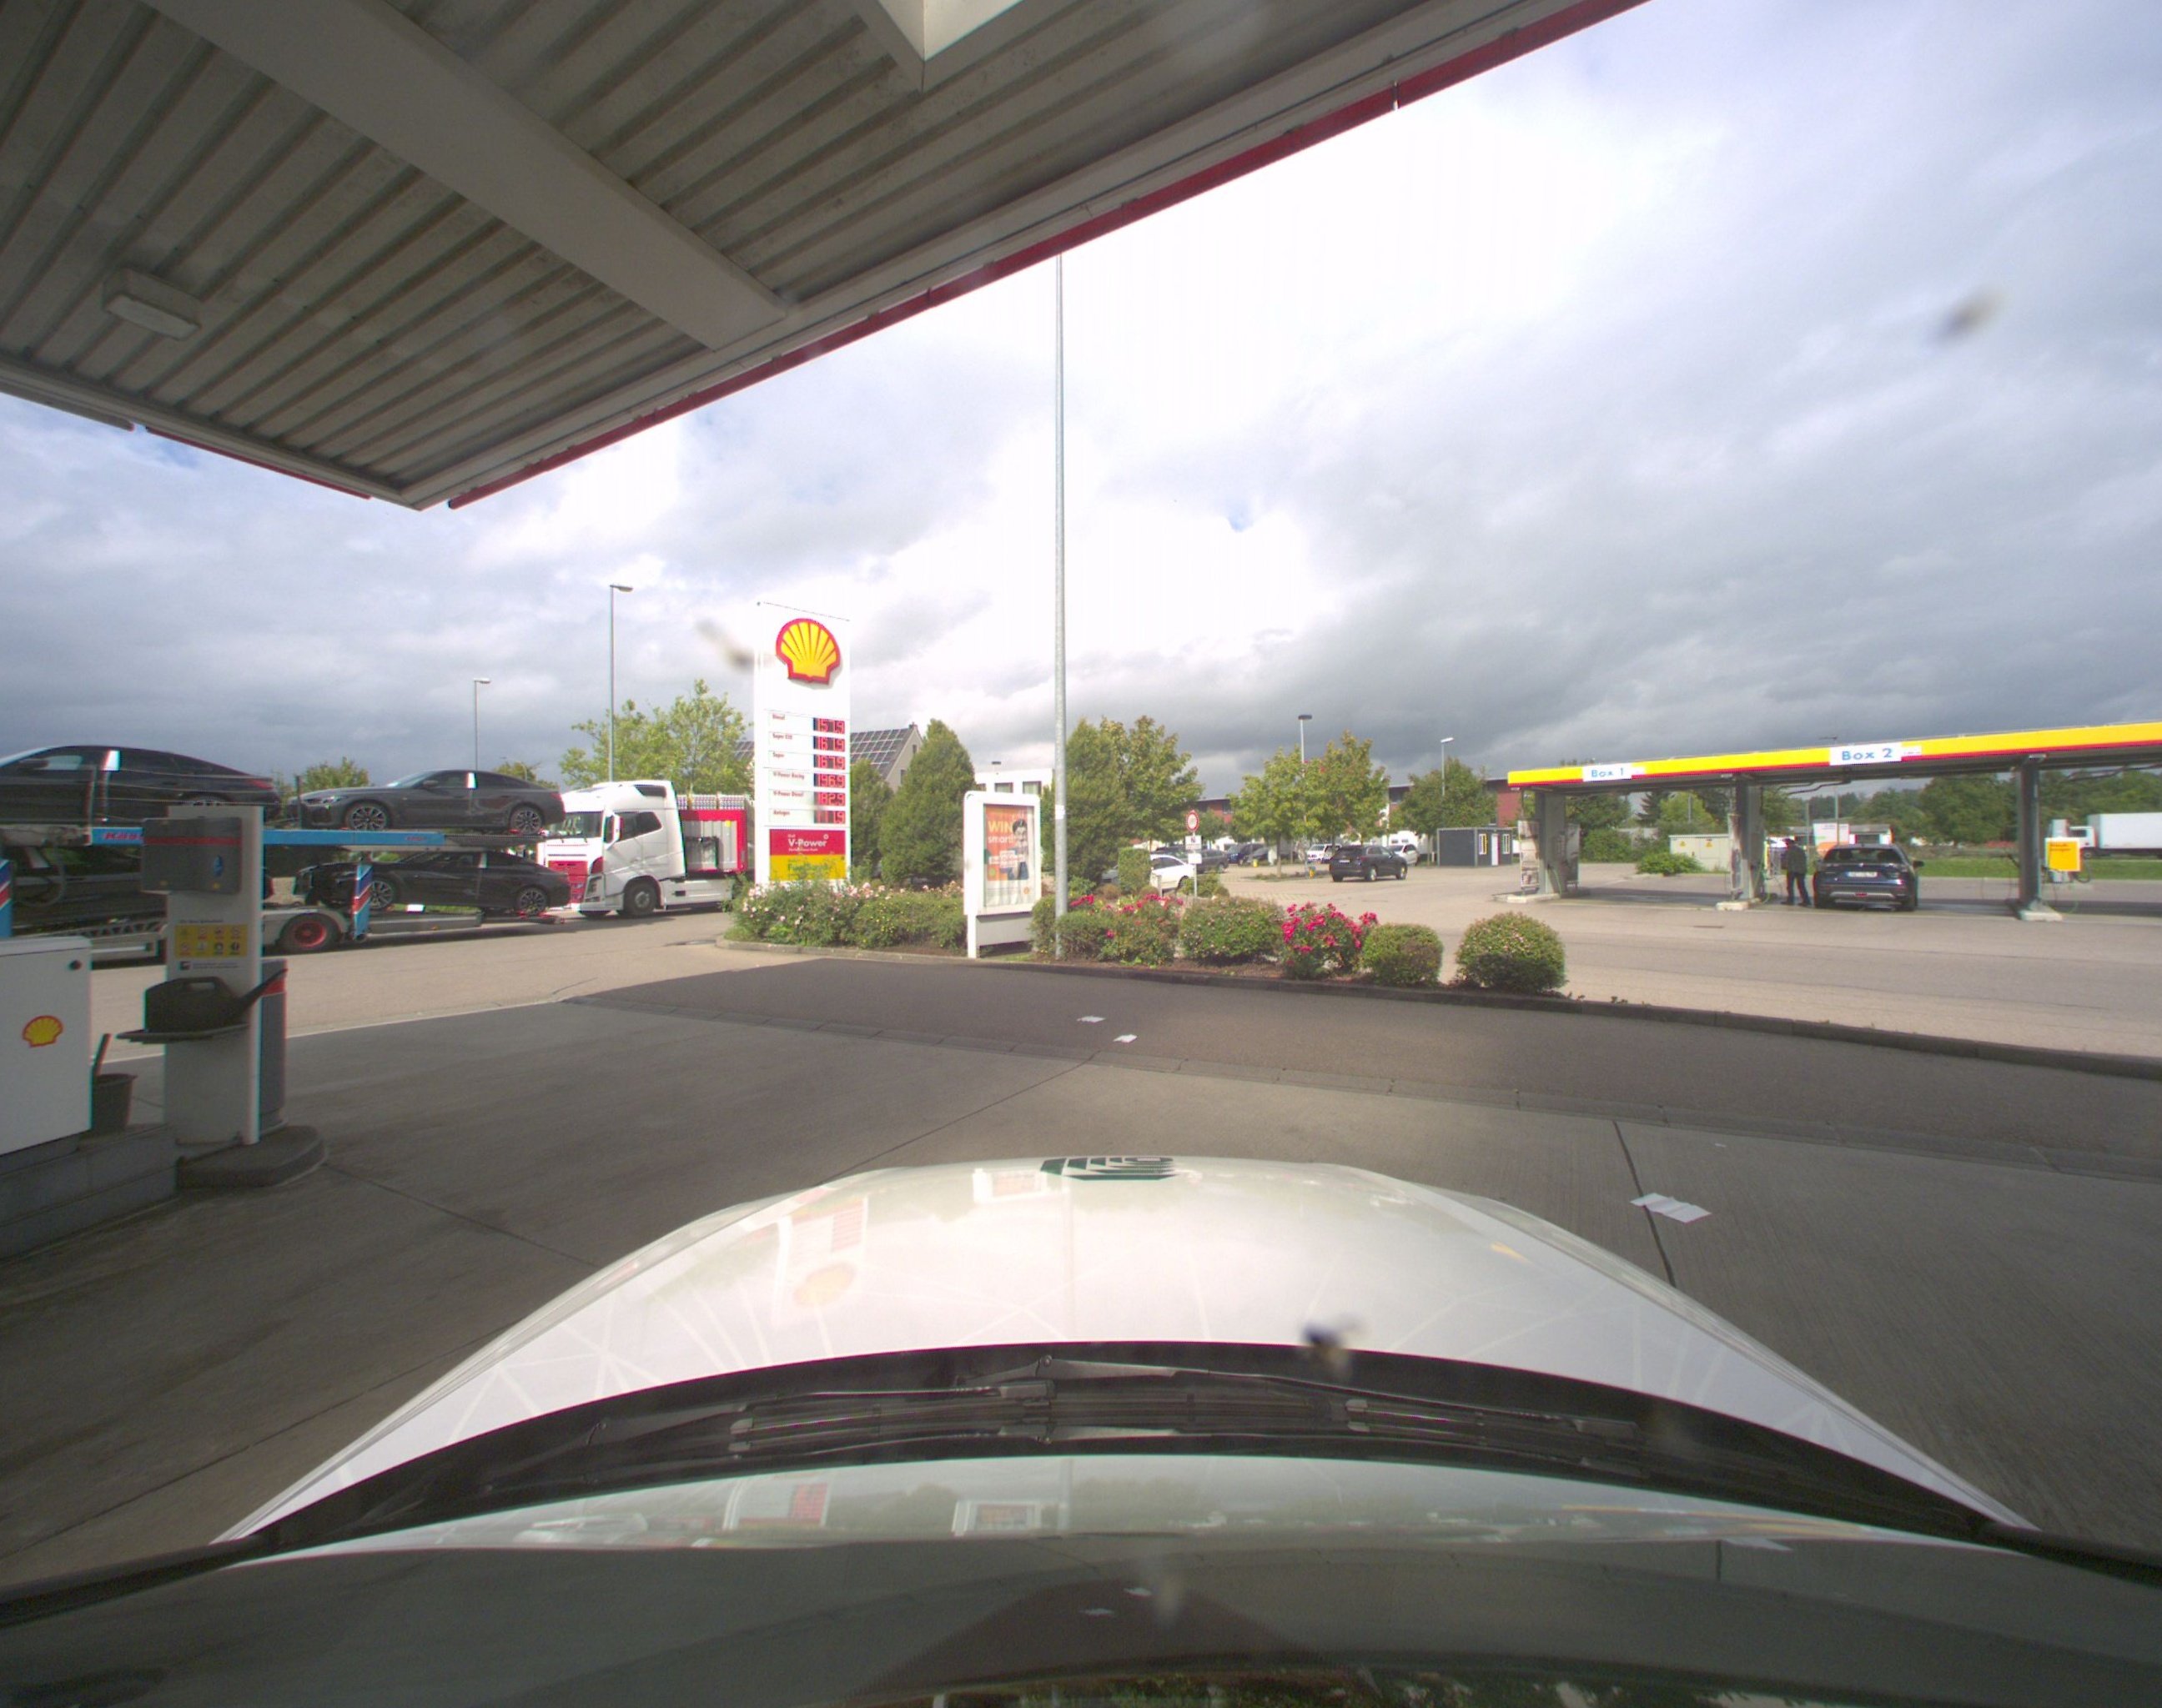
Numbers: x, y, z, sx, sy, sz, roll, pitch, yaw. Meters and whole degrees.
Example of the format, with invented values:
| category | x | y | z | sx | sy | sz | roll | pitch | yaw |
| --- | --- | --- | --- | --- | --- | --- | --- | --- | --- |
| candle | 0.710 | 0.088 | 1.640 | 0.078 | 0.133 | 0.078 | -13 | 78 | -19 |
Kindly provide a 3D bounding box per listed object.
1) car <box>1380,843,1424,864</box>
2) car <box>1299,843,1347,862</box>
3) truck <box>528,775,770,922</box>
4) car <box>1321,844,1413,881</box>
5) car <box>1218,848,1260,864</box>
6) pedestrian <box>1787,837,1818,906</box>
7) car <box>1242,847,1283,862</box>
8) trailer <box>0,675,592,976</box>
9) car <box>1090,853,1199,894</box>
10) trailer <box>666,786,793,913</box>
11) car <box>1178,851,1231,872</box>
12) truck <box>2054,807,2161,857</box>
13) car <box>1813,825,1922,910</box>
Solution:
| category | x | y | z | sx | sy | sz | roll | pitch | yaw |
| --- | --- | --- | --- | --- | --- | --- | --- | --- | --- |
| car | 20.612 | -0.050 | 52.220 | 3.120 | 1.307 | 1.352 | 0 | -1 | -42 |
| car | 23.877 | -0.125 | 80.273 | 4.903 | 1.833 | 2.159 | 0 | -1 | -41 |
| truck | -12.695 | -0.128 | 24.500 | 2.707 | 3.846 | 5.953 | -1 | -1 | 26 |
| car | 12.881 | 0.373 | 36.584 | 4.527 | 1.548 | 1.864 | 0 | -1 | -41 |
| car | 12.954 | 0.180 | 66.664 | 3.407 | 1.320 | 1.726 | 0 | -1 | -42 |
| pedestrian | 18.448 | 0.437 | 20.838 | 0.551 | 1.722 | 0.531 | -1 | -1 | 39 |
| car | 14.497 | 0.033 | 64.880 | 3.437 | 1.179 | 1.468 | 0 | -1 | -42 |
| trailer | -16.429 | -0.409 | 13.687 | 2.711 | 4.423 | 14.450 | -1 | -1 | 31 |
| car | 2.399 | 0.683 | 30.025 | 4.368 | 1.404 | 1.354 | 0 | -1 | -42 |
| trailer | -12.704 | -0.076 | 30.592 | 2.736 | 3.776 | 12.643 | 0 | -1 | -16 |
| car | 7.545 | 0.448 | 49.709 | 3.245 | 1.228 | 1.488 | 0 | -1 | -42 |
| truck | 78.235 | -1.573 | 60.015 | 7.989 | 3.534 | 2.714 | -1 | -1 | 41 |
| car | 19.444 | 0.312 | 20.080 | 3.828 | 1.897 | 1.703 | 0 | -1 | -43 |
